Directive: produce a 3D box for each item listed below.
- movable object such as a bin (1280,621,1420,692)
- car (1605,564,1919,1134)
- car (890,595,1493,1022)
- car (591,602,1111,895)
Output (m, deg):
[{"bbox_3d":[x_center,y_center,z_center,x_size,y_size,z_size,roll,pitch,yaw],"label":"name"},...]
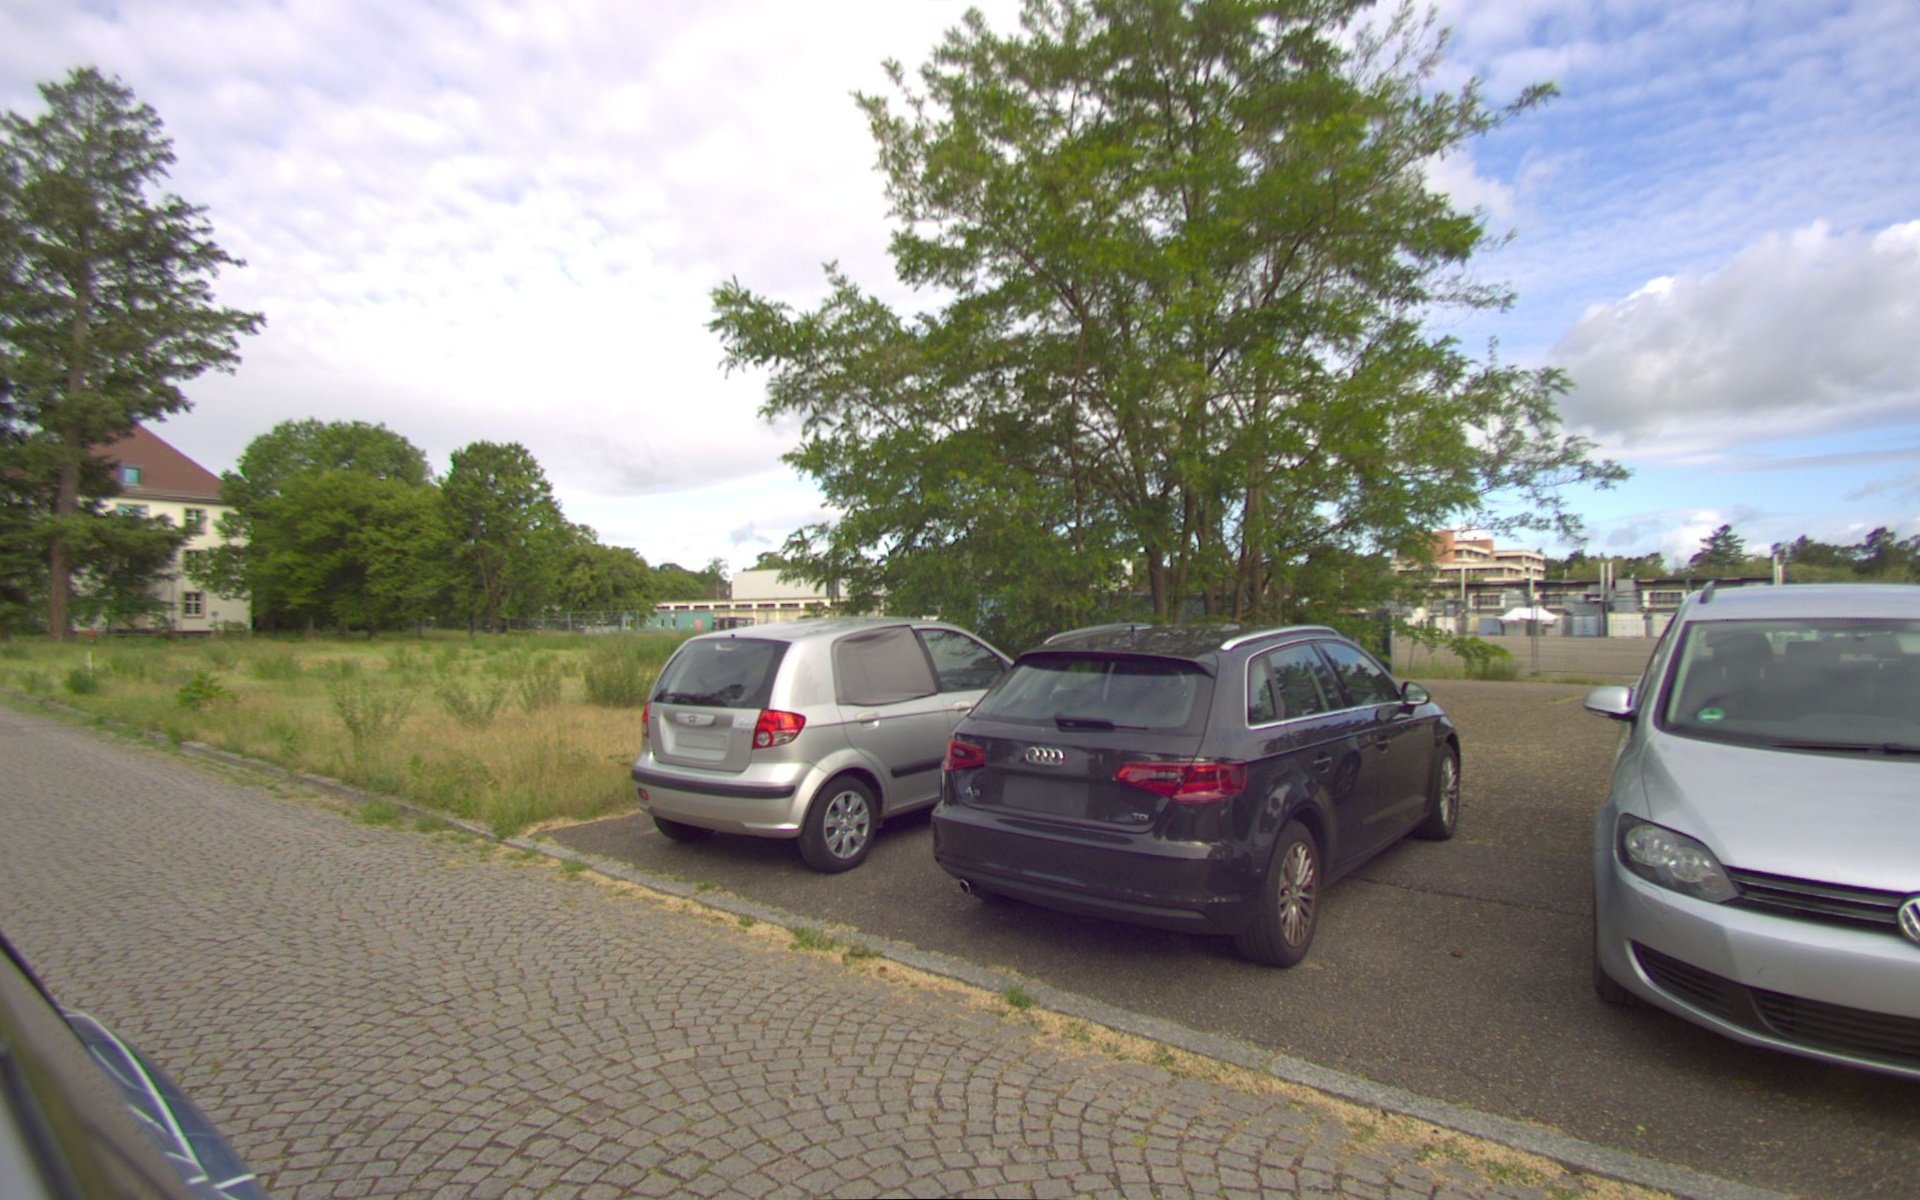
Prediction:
[{"bbox_3d":[7.036,0.967,18.200,2.364,1.170,1.501,1,-2,-44],"label":"movable object such as a bin"},{"bbox_3d":[3.892,0.637,4.291,1.721,1.559,3.952,-1,1,36],"label":"car"},{"bbox_3d":[1.601,0.754,5.722,1.749,1.438,3.948,-1,1,39],"label":"car"},{"bbox_3d":[-0.557,0.814,7.424,1.805,1.463,3.646,-1,1,36],"label":"car"}]
